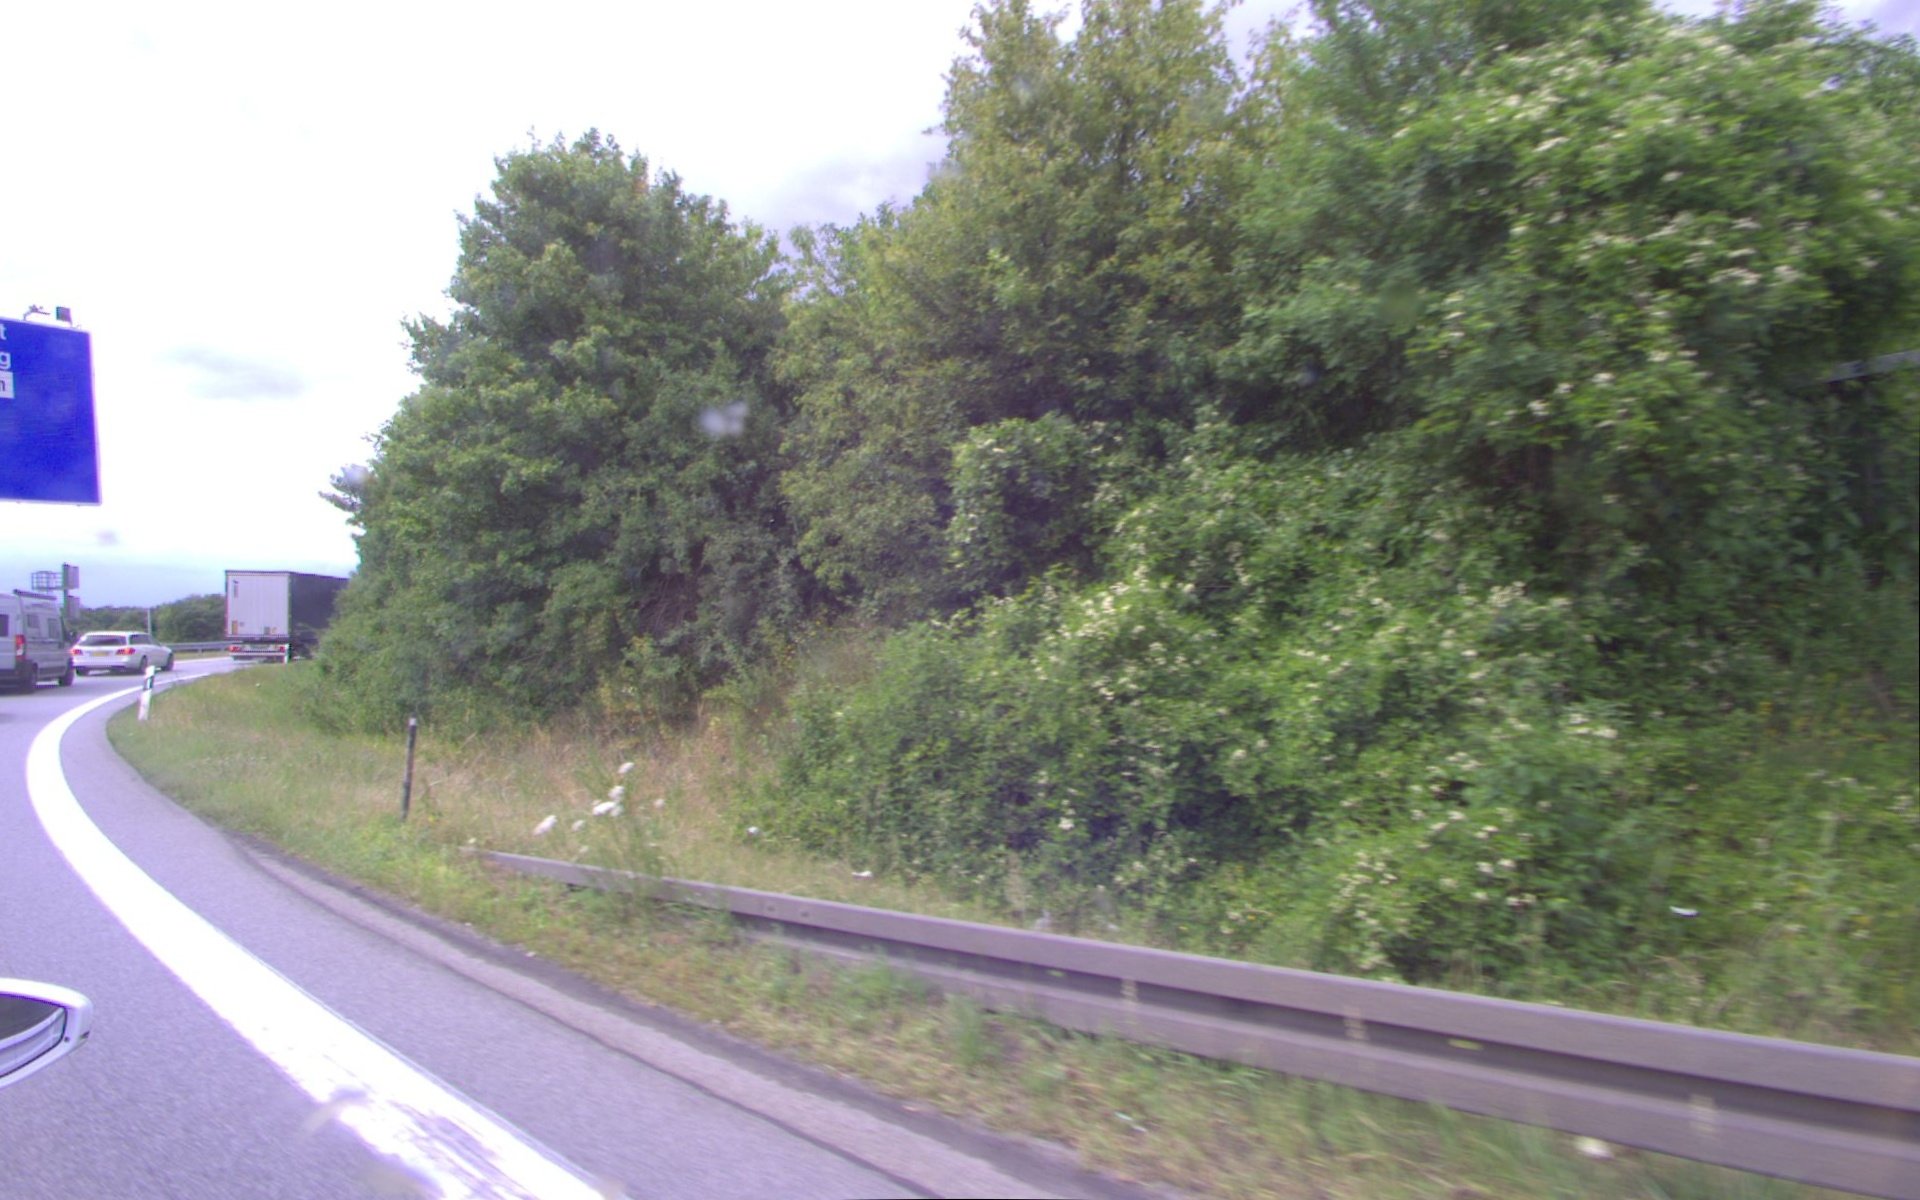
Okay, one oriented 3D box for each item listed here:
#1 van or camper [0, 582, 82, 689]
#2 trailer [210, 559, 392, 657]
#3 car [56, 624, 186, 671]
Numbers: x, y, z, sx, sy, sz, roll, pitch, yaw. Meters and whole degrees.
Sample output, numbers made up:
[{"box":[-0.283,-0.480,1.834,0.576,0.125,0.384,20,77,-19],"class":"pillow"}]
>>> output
[{"box":[-25.343,0.914,26.577,2.271,2.602,6.122,0,-1,-34],"class":"van or camper"},{"box":[-32.398,0.499,50.141,3.280,4.247,13.020,0,-1,-13],"class":"trailer"},{"box":[-29.785,1.626,35.761,2.177,1.521,4.773,0,-1,-22],"class":"car"}]
